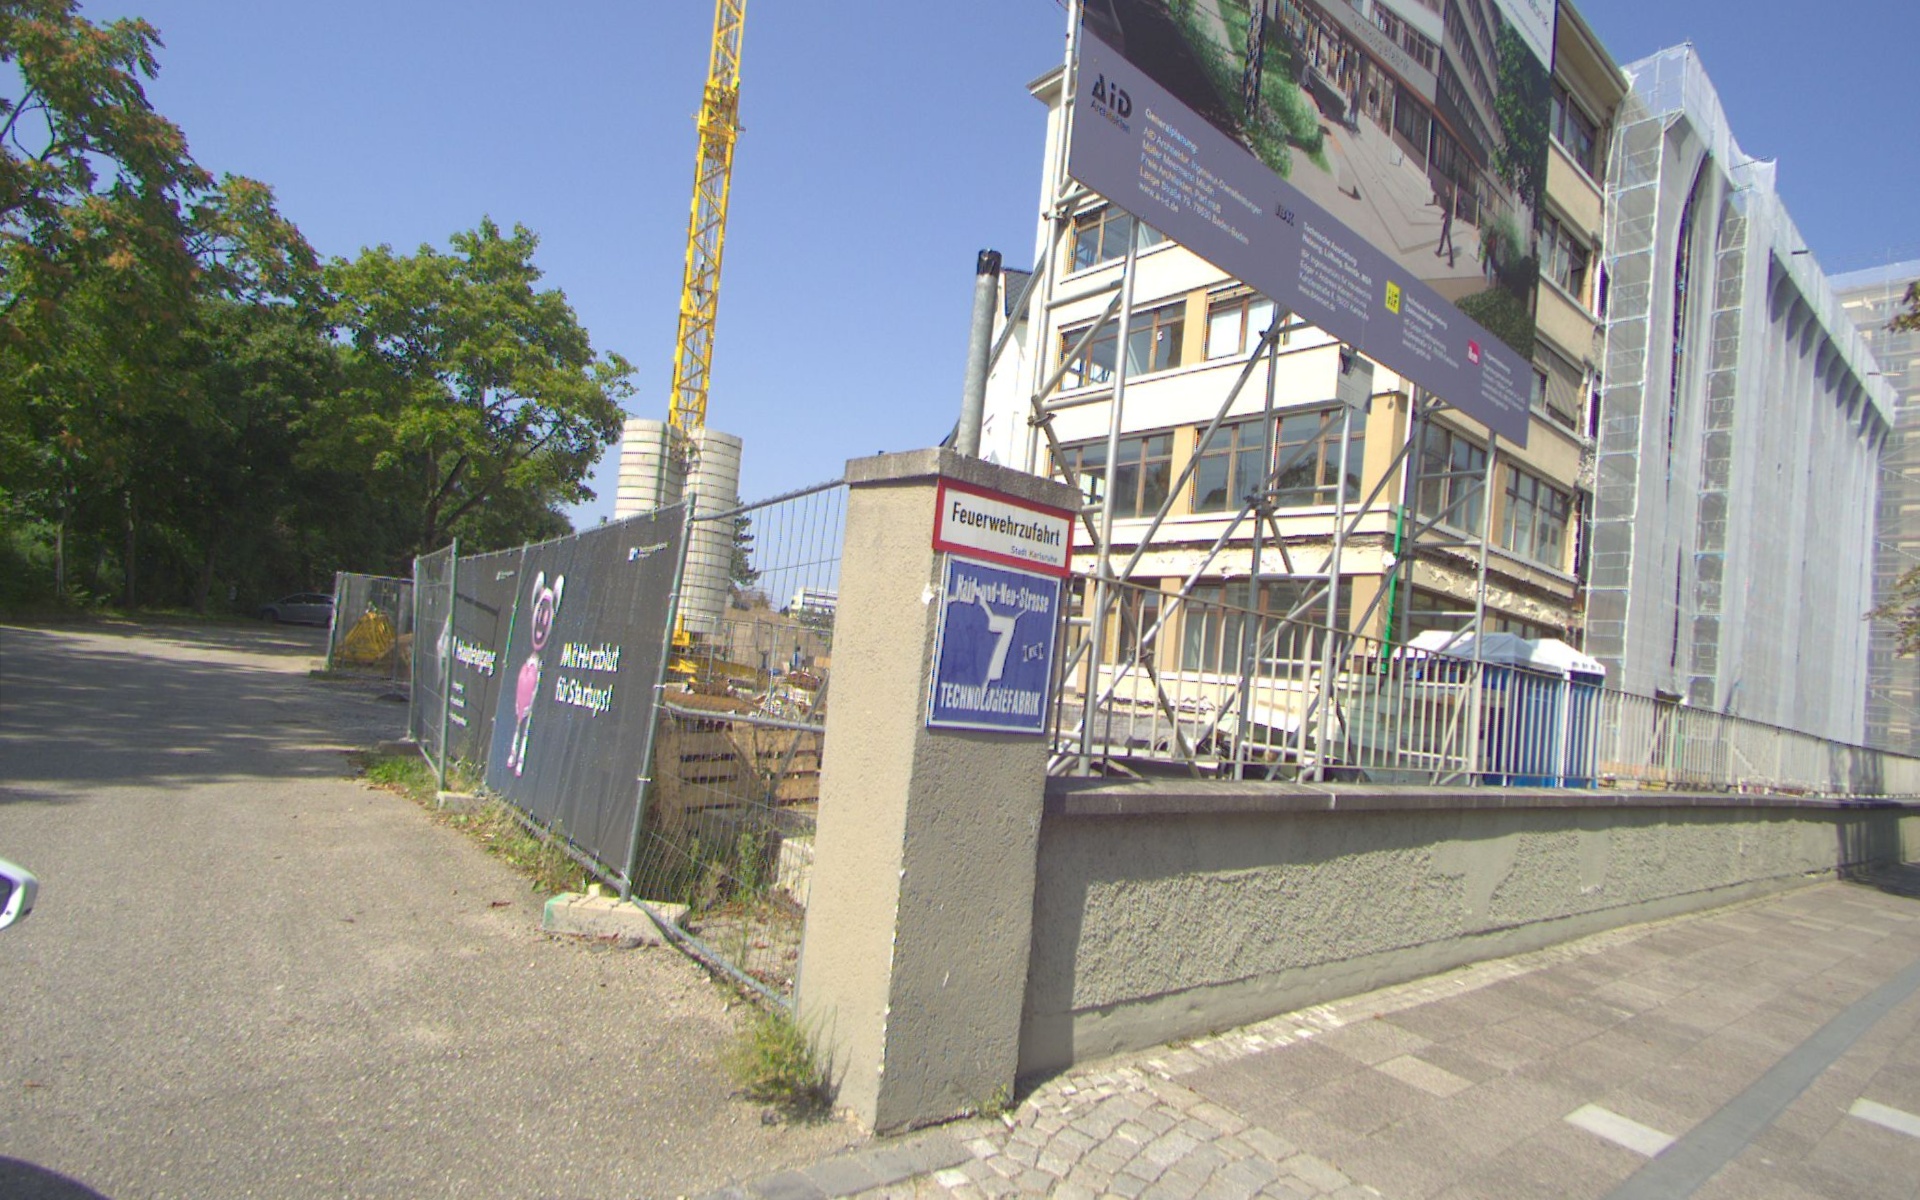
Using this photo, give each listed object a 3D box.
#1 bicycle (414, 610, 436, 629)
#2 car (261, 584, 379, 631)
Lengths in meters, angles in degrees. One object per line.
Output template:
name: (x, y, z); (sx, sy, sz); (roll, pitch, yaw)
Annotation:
bicycle: (-34.866, 1.254, 65.562); (0.491, 1.119, 1.800); (7, -3, -7)
car: (-30.266, 0.397, 47.684); (4.093, 1.630, 1.998); (8, -3, -11)
